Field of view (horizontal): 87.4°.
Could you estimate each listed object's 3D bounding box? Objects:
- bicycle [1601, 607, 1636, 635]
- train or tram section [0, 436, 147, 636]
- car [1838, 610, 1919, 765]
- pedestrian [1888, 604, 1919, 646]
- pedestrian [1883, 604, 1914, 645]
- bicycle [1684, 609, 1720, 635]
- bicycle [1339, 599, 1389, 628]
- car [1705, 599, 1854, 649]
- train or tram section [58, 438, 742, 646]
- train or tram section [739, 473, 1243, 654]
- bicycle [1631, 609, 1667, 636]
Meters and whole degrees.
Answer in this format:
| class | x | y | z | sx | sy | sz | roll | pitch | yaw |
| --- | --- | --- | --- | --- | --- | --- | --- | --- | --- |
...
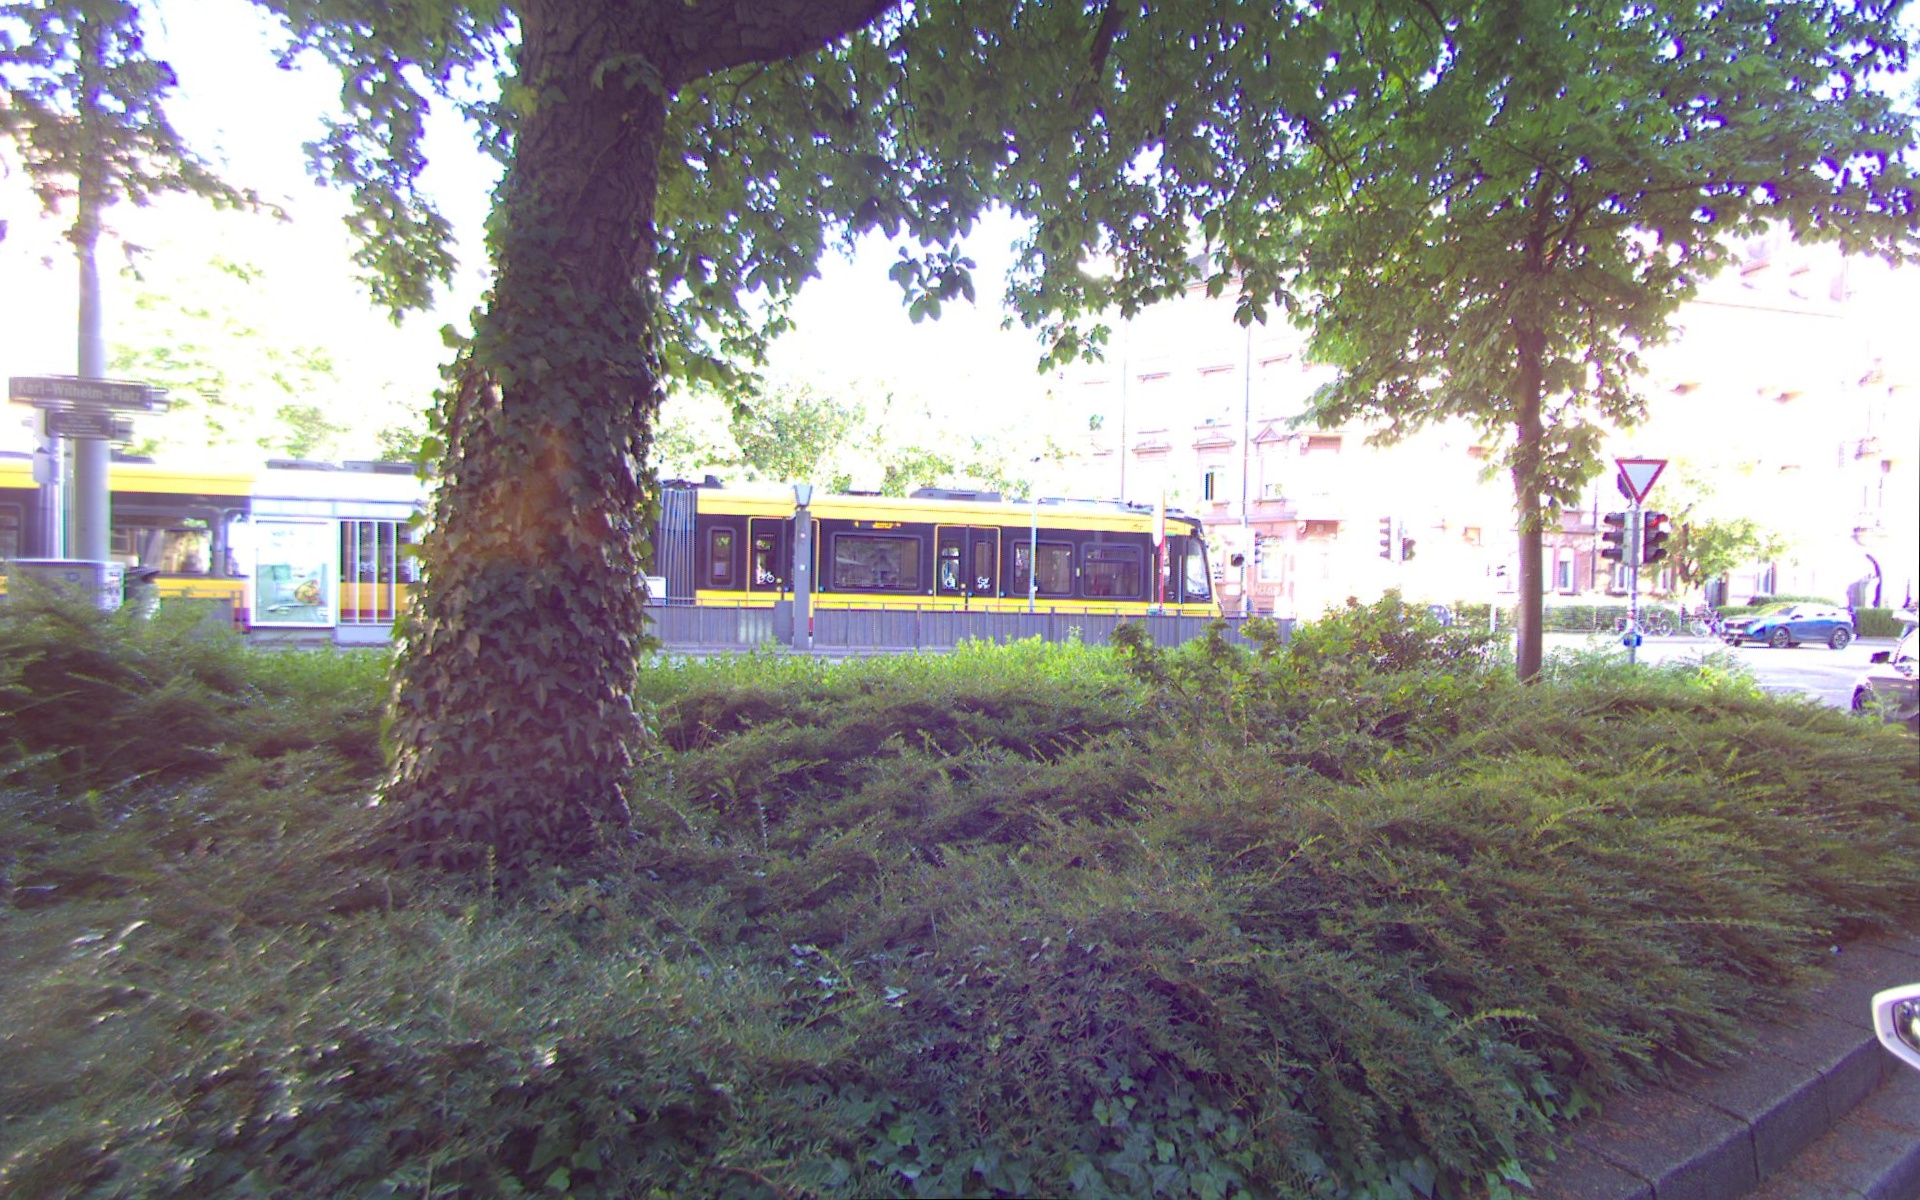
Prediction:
| class | x | y | z | sx | sy | sz | roll | pitch | yaw |
| --- | --- | --- | --- | --- | --- | --- | --- | --- | --- |
| bicycle | 27.670 | 0.876 | 42.228 | 1.210 | 1.122 | 0.442 | 1 | 2 | -7 |
| train or tram section | -22.875 | -1.327 | 18.337 | 12.463 | 3.605 | 2.766 | 1 | 1 | -13 |
| car | 10.774 | 0.894 | 10.276 | 1.762 | 1.562 | 3.855 | 0 | 0 | 27 |
| pedestrian | 39.946 | 1.048 | 42.314 | 0.880 | 1.688 | 0.712 | 2 | 4 | 5 |
| pedestrian | 40.399 | 1.035 | 43.234 | 0.624 | 1.738 | 0.664 | 1 | 1 | 1 |
| bicycle | 31.591 | 0.931 | 42.760 | 1.211 | 1.052 | 0.442 | 1 | 2 | -8 |
| bicycle | 17.580 | 0.574 | 43.730 | 1.928 | 1.122 | 0.443 | 3 | 2 | 22 |
| car | 29.991 | 0.865 | 36.801 | 4.333 | 1.672 | 1.944 | 1 | 1 | -12 |
| train or tram section | -10.867 | -1.026 | 21.158 | 12.206 | 3.635 | 2.779 | 1 | 1 | -13 |
| train or tram section | 0.726 | -0.728 | 23.890 | 11.598 | 3.668 | 2.793 | 1 | 1 | -13 |
| bicycle | 29.060 | 0.945 | 42.373 | 1.210 | 1.122 | 0.442 | 1 | 2 | -7 |
